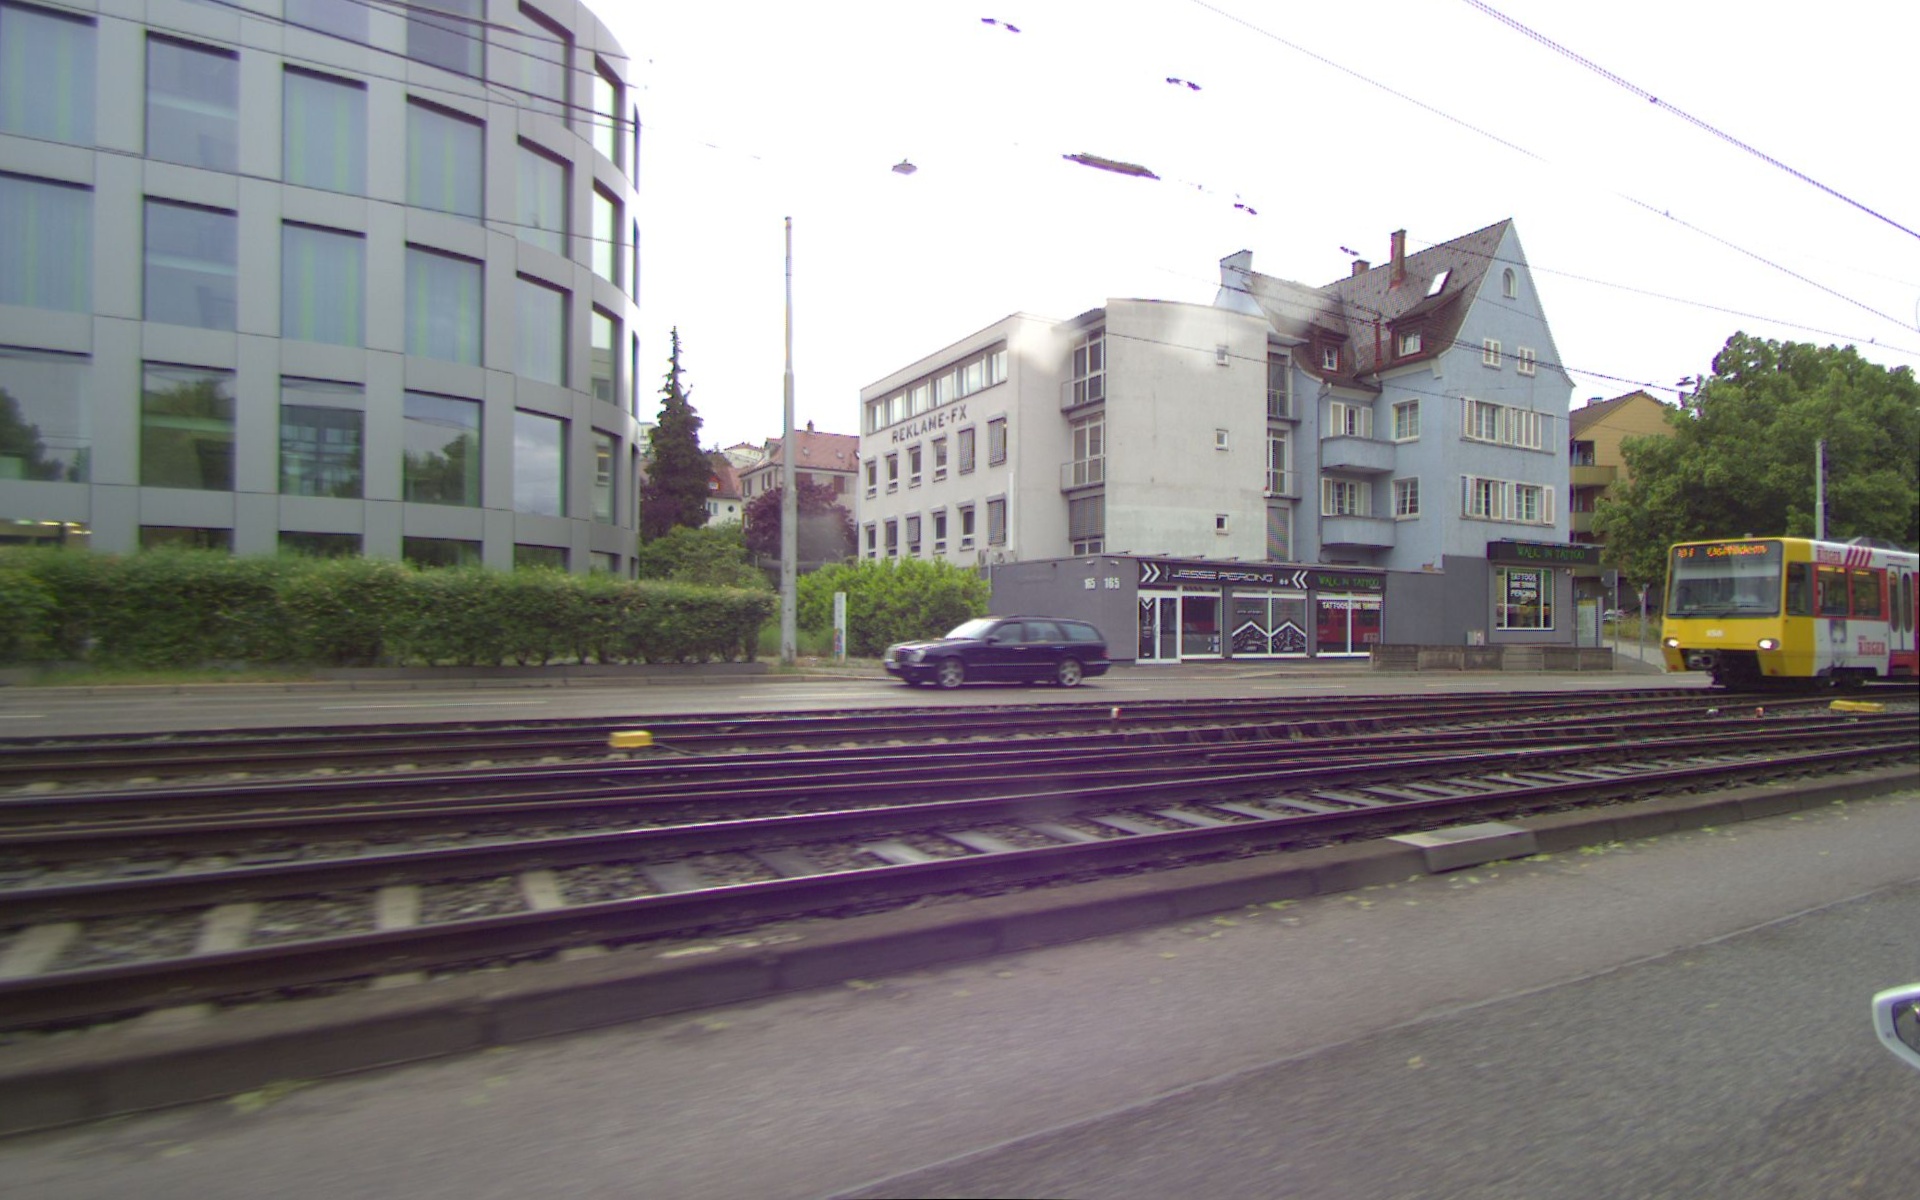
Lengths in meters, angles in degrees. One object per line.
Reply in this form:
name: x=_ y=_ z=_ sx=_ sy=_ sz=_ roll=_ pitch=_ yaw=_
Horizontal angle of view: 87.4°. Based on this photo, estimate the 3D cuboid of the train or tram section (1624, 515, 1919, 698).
train or tram section: x=24.503 y=0.360 z=26.925 sx=18.384 sy=3.861 sz=2.955 roll=2 pitch=-1 yaw=-29

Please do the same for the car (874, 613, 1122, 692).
car: x=0.838 y=1.056 z=20.777 sx=4.865 sy=1.470 sz=1.897 roll=2 pitch=-1 yaw=-30
